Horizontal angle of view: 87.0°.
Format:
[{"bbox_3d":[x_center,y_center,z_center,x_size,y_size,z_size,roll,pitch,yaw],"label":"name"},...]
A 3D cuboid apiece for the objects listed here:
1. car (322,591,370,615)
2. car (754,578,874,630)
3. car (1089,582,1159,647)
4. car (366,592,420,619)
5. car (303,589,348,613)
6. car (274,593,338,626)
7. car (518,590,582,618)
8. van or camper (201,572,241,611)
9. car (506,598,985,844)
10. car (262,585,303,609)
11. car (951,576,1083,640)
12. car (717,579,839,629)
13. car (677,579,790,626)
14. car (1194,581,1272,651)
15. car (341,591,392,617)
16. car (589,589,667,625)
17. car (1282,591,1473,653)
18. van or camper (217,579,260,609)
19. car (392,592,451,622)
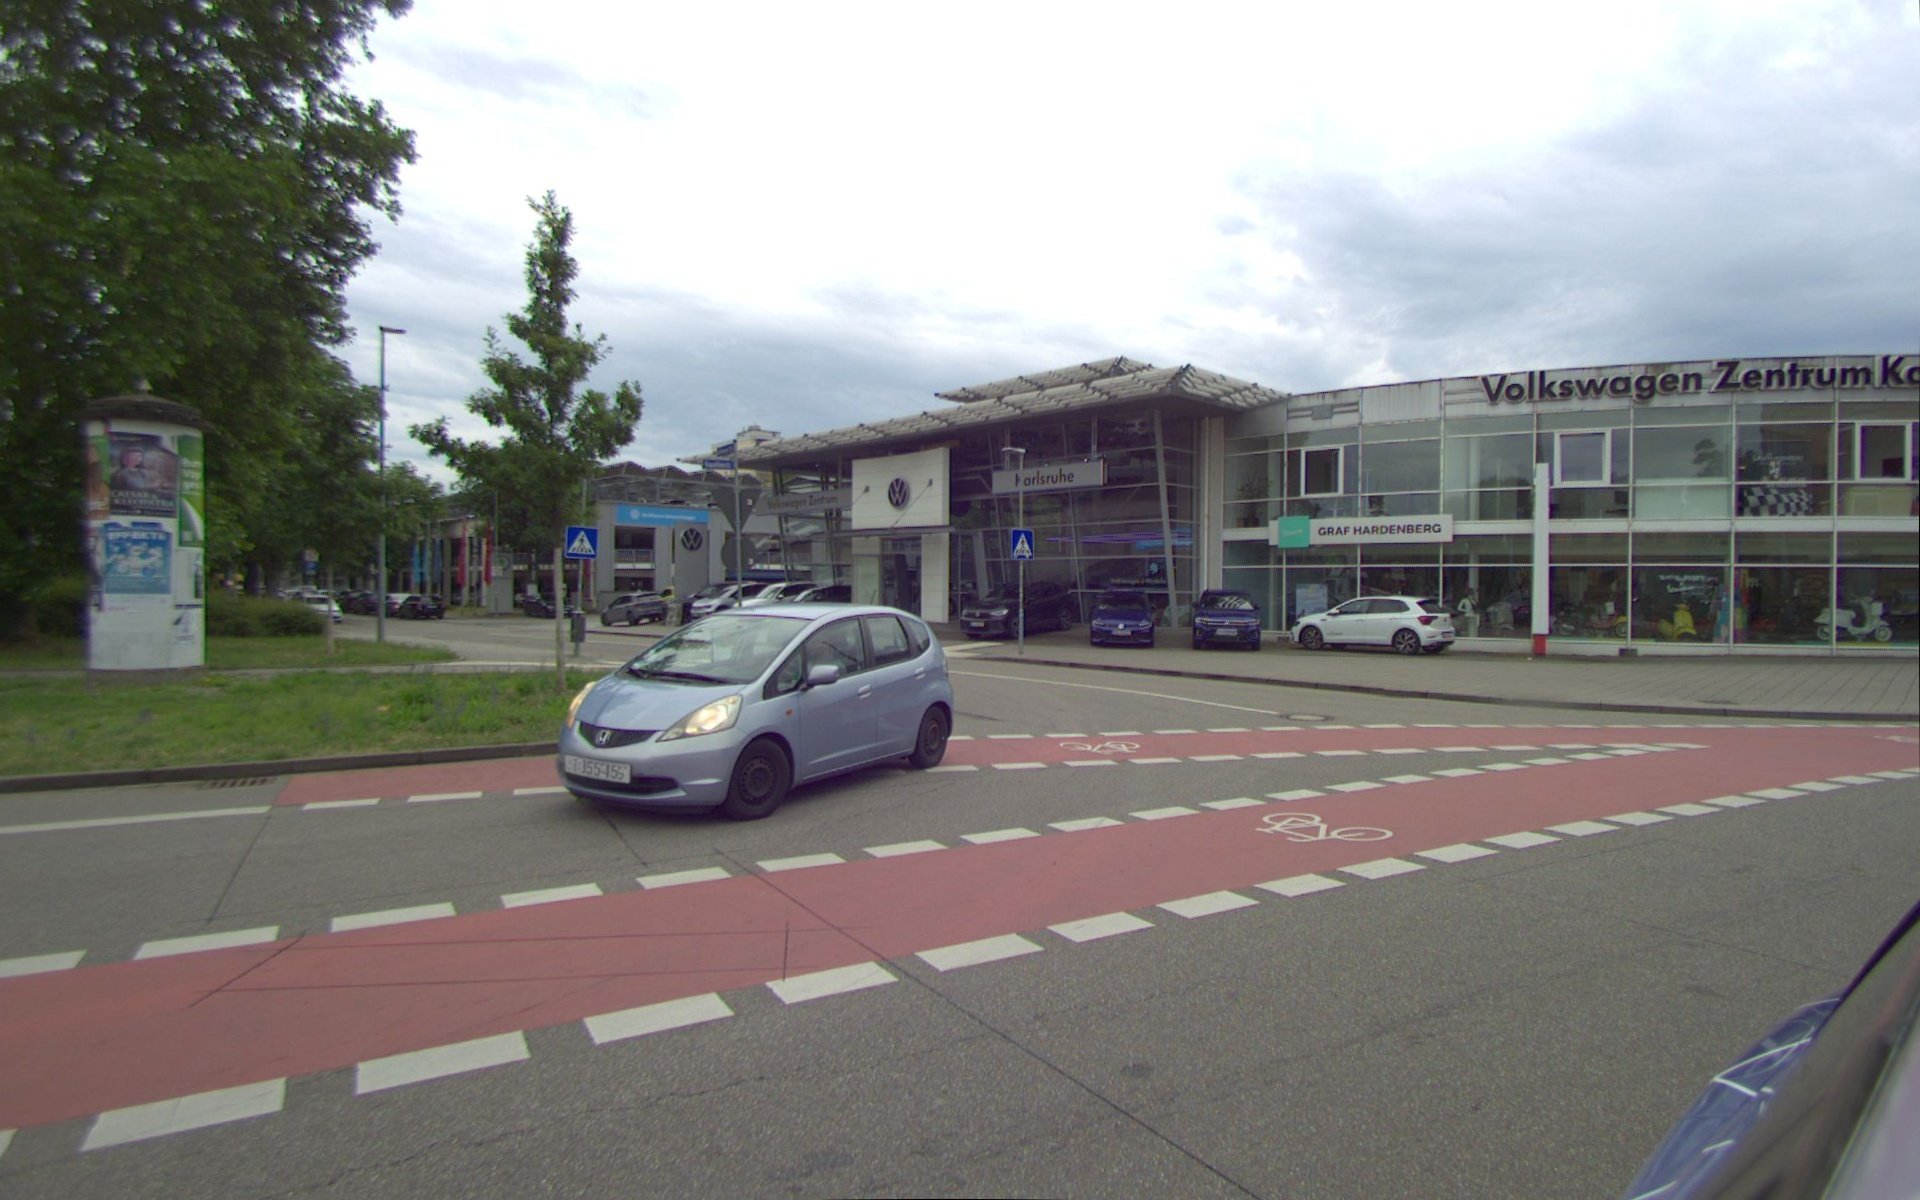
[{"bbox_3d":[-43.958,0.197,72.416,4.461,1.644,1.832,1,2,44],"label":"car"},{"bbox_3d":[-5.719,0.109,40.037,1.892,1.717,4.406,-1,3,45],"label":"car"},{"bbox_3d":[4.731,0.343,28.829,1.829,1.522,4.328,0,3,11],"label":"car"},{"bbox_3d":[-36.666,0.312,65.374,4.461,1.644,1.832,1,2,44],"label":"car"},{"bbox_3d":[-47.532,0.037,75.813,4.461,1.644,1.832,1,2,44],"label":"car"},{"bbox_3d":[-33.268,0.448,51.418,1.830,1.567,4.464,2,-1,-44],"label":"car"},{"bbox_3d":[-24.515,0.220,60.453,4.461,1.567,1.869,1,2,44],"label":"car"},{"bbox_3d":[-55.120,-0.635,75.445,1.967,2.807,3.991,0,0,-43],"label":"van or camper"},{"bbox_3d":[-1.481,0.745,8.496,1.739,1.485,4.057,1,1,28],"label":"car"},{"bbox_3d":[-59.843,-0.293,89.391,4.767,2.010,1.992,1,2,44],"label":"car"},{"bbox_3d":[1.871,0.193,31.857,1.852,1.652,4.448,-1,3,40],"label":"car"},{"bbox_3d":[-7.512,0.109,42.090,4.700,1.720,1.856,-5,3,-44],"label":"car"},{"bbox_3d":[-9.820,0.082,44.075,4.405,1.720,1.865,-5,3,-44],"label":"car"},{"bbox_3d":[7.350,0.359,27.583,1.873,1.581,4.207,0,3,13],"label":"car"},{"bbox_3d":[-40.478,0.255,68.952,4.461,1.644,1.832,1,2,44],"label":"car"},{"bbox_3d":[-15.899,0.316,48.397,4.001,1.583,1.890,0,1,44],"label":"car"},{"bbox_3d":[10.721,0.517,26.204,1.752,1.471,4.256,0,0,-41],"label":"car"},{"bbox_3d":[-50.931,-0.436,71.391,1.967,2.039,3.991,0,1,-43],"label":"van or camper"},{"bbox_3d":[-32.592,0.384,61.205,4.461,1.644,1.832,1,2,44],"label":"car"}]
